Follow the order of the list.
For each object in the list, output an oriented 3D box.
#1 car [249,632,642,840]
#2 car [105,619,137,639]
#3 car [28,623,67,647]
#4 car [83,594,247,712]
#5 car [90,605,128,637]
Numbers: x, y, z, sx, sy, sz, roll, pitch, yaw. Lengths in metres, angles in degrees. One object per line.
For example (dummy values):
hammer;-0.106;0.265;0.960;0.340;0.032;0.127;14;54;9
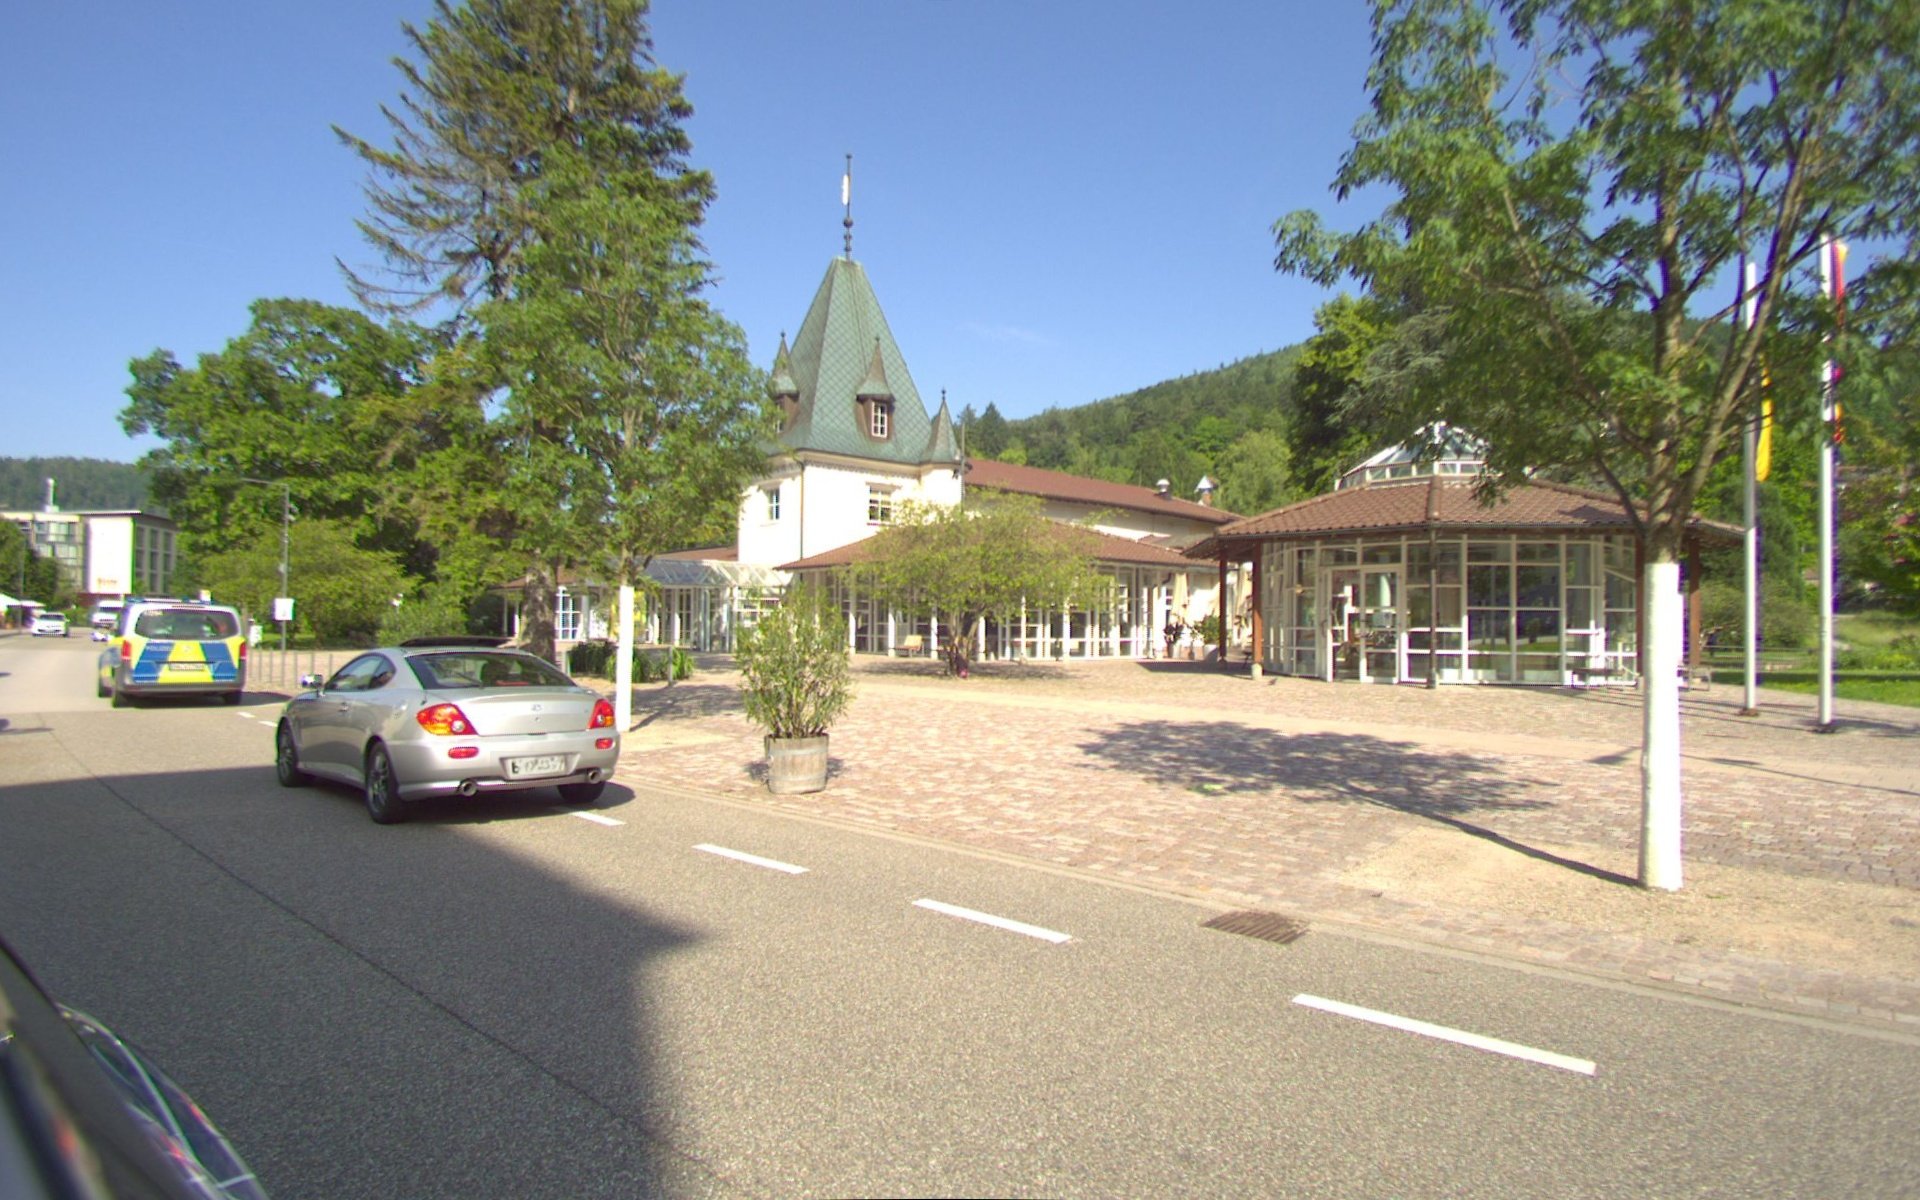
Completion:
car;-4.573;0.991;8.728;4.062;1.381;1.610;-1;-4;42
car;-66.676;2.284;80.383;1.720;1.474;4.192;5;-4;-41
car;-58.506;2.240;64.928;1.629;1.482;4.007;0;-1;-39
car;-15.368;0.974;19.450;1.833;1.968;5.020;4;-4;-45
car;-78.566;1.962;93.509;1.760;2.812;5.930;0;-1;-31
